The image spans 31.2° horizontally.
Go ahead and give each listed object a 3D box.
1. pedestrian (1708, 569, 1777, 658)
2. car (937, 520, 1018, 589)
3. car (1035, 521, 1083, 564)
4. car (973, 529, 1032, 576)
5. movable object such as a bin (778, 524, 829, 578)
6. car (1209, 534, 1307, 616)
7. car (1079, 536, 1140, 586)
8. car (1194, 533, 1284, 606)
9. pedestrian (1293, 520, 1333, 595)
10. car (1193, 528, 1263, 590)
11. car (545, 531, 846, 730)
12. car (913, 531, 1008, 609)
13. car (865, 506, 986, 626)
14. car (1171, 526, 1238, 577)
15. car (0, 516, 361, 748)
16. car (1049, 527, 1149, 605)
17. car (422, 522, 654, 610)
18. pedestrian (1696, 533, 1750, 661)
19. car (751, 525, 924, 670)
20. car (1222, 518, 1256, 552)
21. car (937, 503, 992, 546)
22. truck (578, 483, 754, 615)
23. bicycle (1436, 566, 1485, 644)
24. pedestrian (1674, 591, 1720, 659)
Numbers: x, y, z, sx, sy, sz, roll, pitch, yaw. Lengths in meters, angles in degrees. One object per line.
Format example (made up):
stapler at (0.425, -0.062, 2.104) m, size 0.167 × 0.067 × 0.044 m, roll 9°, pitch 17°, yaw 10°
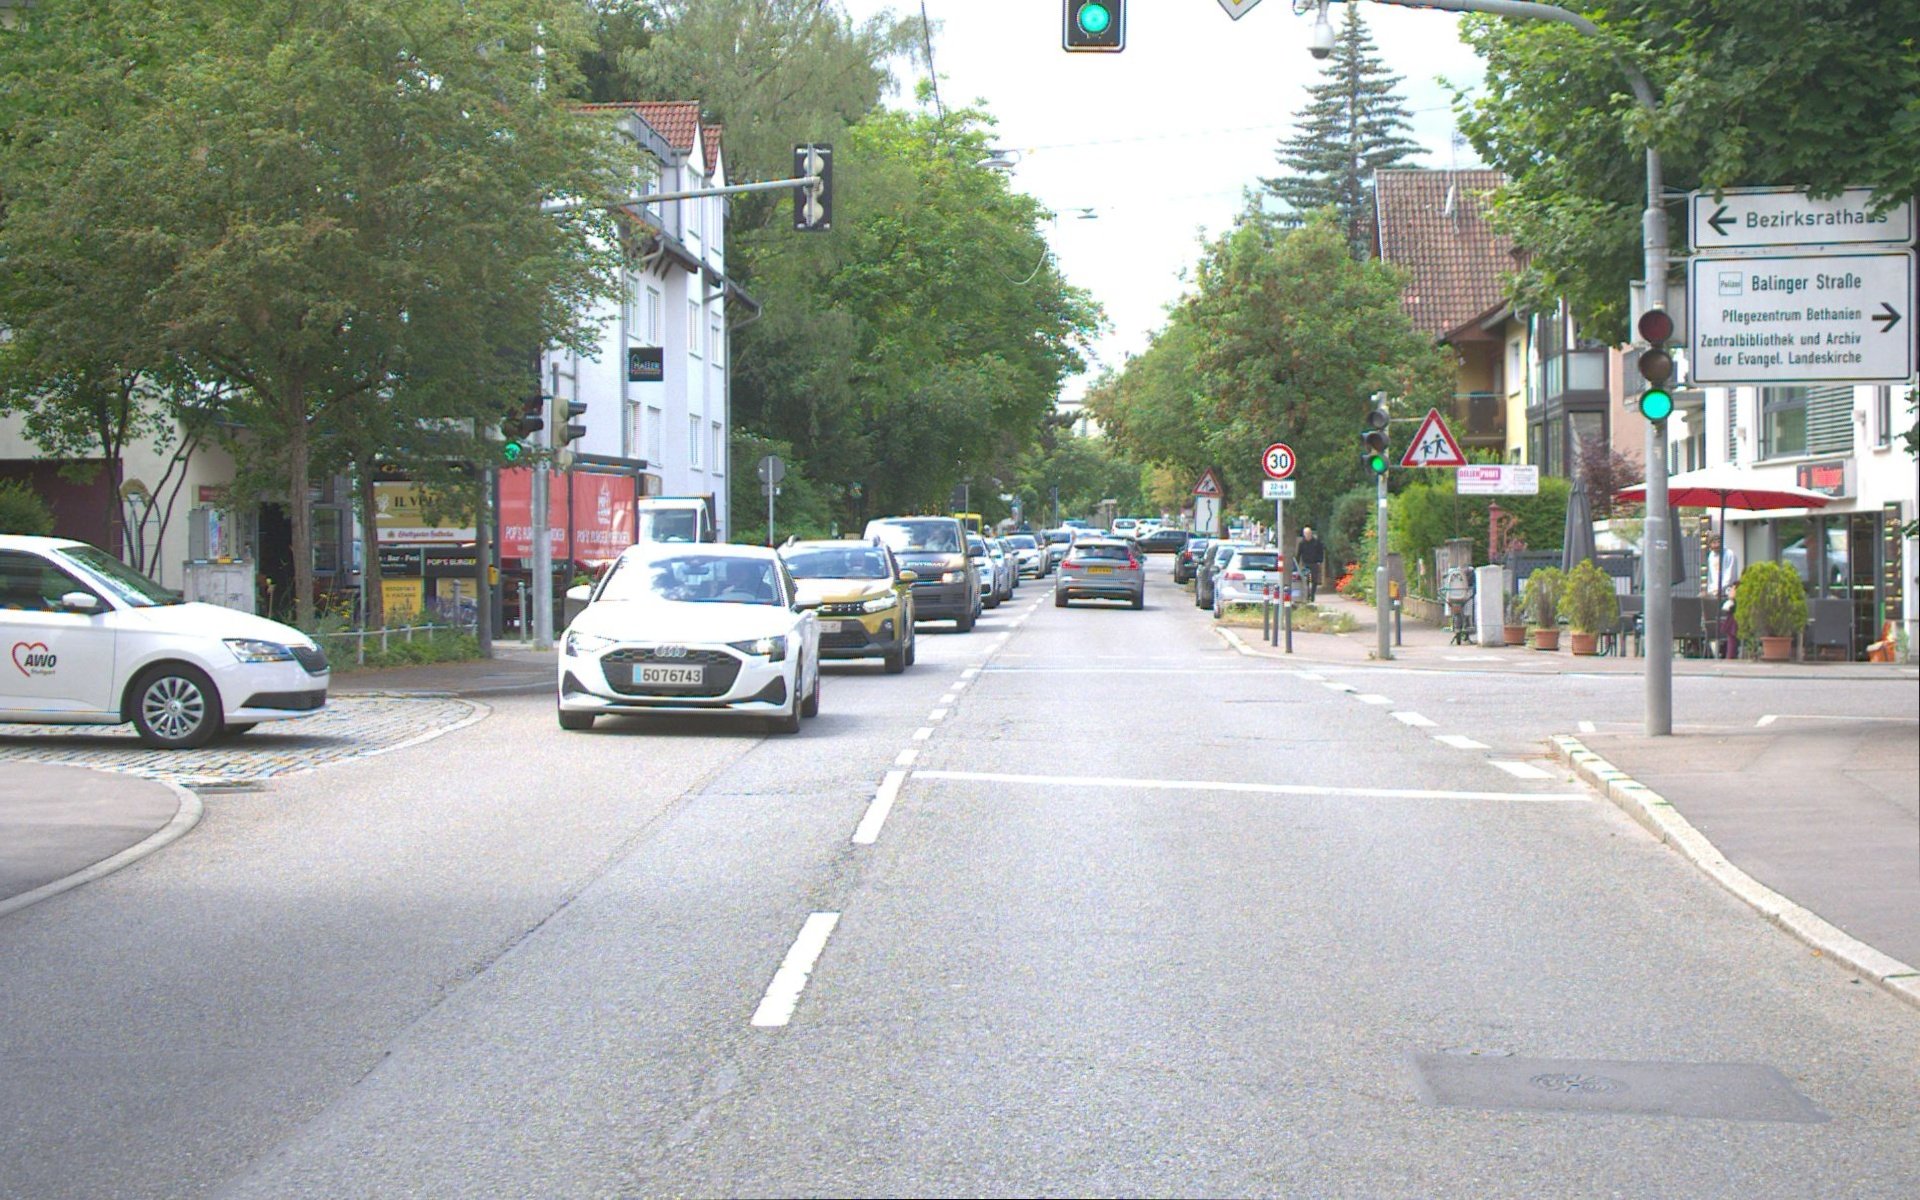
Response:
pedestrian at (9.704, 0.163, 42.619) m, size 0.566 × 1.085 × 0.634 m, roll 0°, pitch 1°, yaw -22°
car at (0.433, -1.101, 81.194) m, size 1.728 × 1.497 × 4.376 m, roll -2°, pitch 1°, yaw 2°
car at (4.071, -2.362, 141.011) m, size 1.786 × 1.642 × 4.490 m, roll -2°, pitch 1°, yaw 3°
car at (1.410, -1.565, 113.093) m, size 1.760 × 1.434 × 3.970 m, roll -2°, pitch 2°, yaw 3°
movable object such as a bin at (-4.164, -1.293, 91.500) m, size 1.330 × 1.422 × 1.214 m, roll 0°, pitch 1°, yaw -3°
car at (5.820, -0.525, 67.489) m, size 1.701 × 1.475 × 4.872 m, roll 1°, pitch 2°, yaw 3°
car at (4.776, -1.263, 109.730) m, size 1.816 × 1.495 × 4.266 m, roll 1°, pitch 2°, yaw 4°
car at (6.117, -0.695, 75.811) m, size 1.734 × 1.424 × 4.882 m, roll 3°, pitch 2°, yaw 3°
pedestrian at (8.140, -0.975, 79.253) m, size 0.880 × 1.706 × 0.842 m, roll 0°, pitch 0°, yaw 4°
car at (6.789, -1.061, 87.326) m, size 1.622 × 1.502 × 3.779 m, roll 0°, pitch 1°, yaw 3°
car at (-1.976, 0.178, 26.803) m, size 1.874 × 1.419 × 4.115 m, roll 0°, pitch 1°, yaw 2°
car at (0.039, -0.675, 74.130) m, size 1.806 × 1.566 × 4.159 m, roll -2°, pitch 1°, yaw 3°
car at (-0.533, -0.596, 57.301) m, size 1.877 × 1.906 × 4.752 m, roll 1°, pitch 1°, yaw 1°
car at (7.529, -1.520, 106.261) m, size 1.801 × 1.440 × 4.887 m, roll 2°, pitch 2°, yaw 2°
car at (-6.479, 0.182, 24.058) m, size 4.212 × 1.508 × 1.822 m, roll 1°, pitch 2°, yaw 2°
car at (2.993, -0.752, 73.499) m, size 1.976 × 1.508 × 4.267 m, roll 3°, pitch 2°, yaw 3°
car at (-7.060, -0.586, 57.755) m, size 3.692 × 1.420 × 1.805 m, roll 0°, pitch 1°, yaw -1°
pedestrian at (10.550, -0.044, 47.533) m, size 0.427 × 1.756 × 0.676 m, roll 0°, pitch 0°, yaw -18°
car at (-1.358, -0.074, 39.394) m, size 1.728 × 1.532 × 4.000 m, roll 0°, pitch 2°, yaw 1°
car at (16.719, -3.860, 205.784) m, size 1.994 × 2.007 × 3.999 m, roll 0°, pitch 1°, yaw 4°
car at (0.215, -3.522, 161.385) m, size 2.146 × 1.974 × 4.930 m, roll 0°, pitch 1°, yaw 5°
truck at (-5.499, -0.951, 65.166) m, size 2.225 × 2.371 × 6.324 m, roll 0°, pitch 1°, yaw 5°
bicycle at (7.526, 0.058, 51.766) m, size 0.721 × 1.146 × 2.212 m, roll 0°, pitch 1°, yaw 8°
pedestrian at (10.114, 0.341, 47.165) m, size 0.418 × 0.935 × 0.498 m, roll 0°, pitch 1°, yaw -18°
